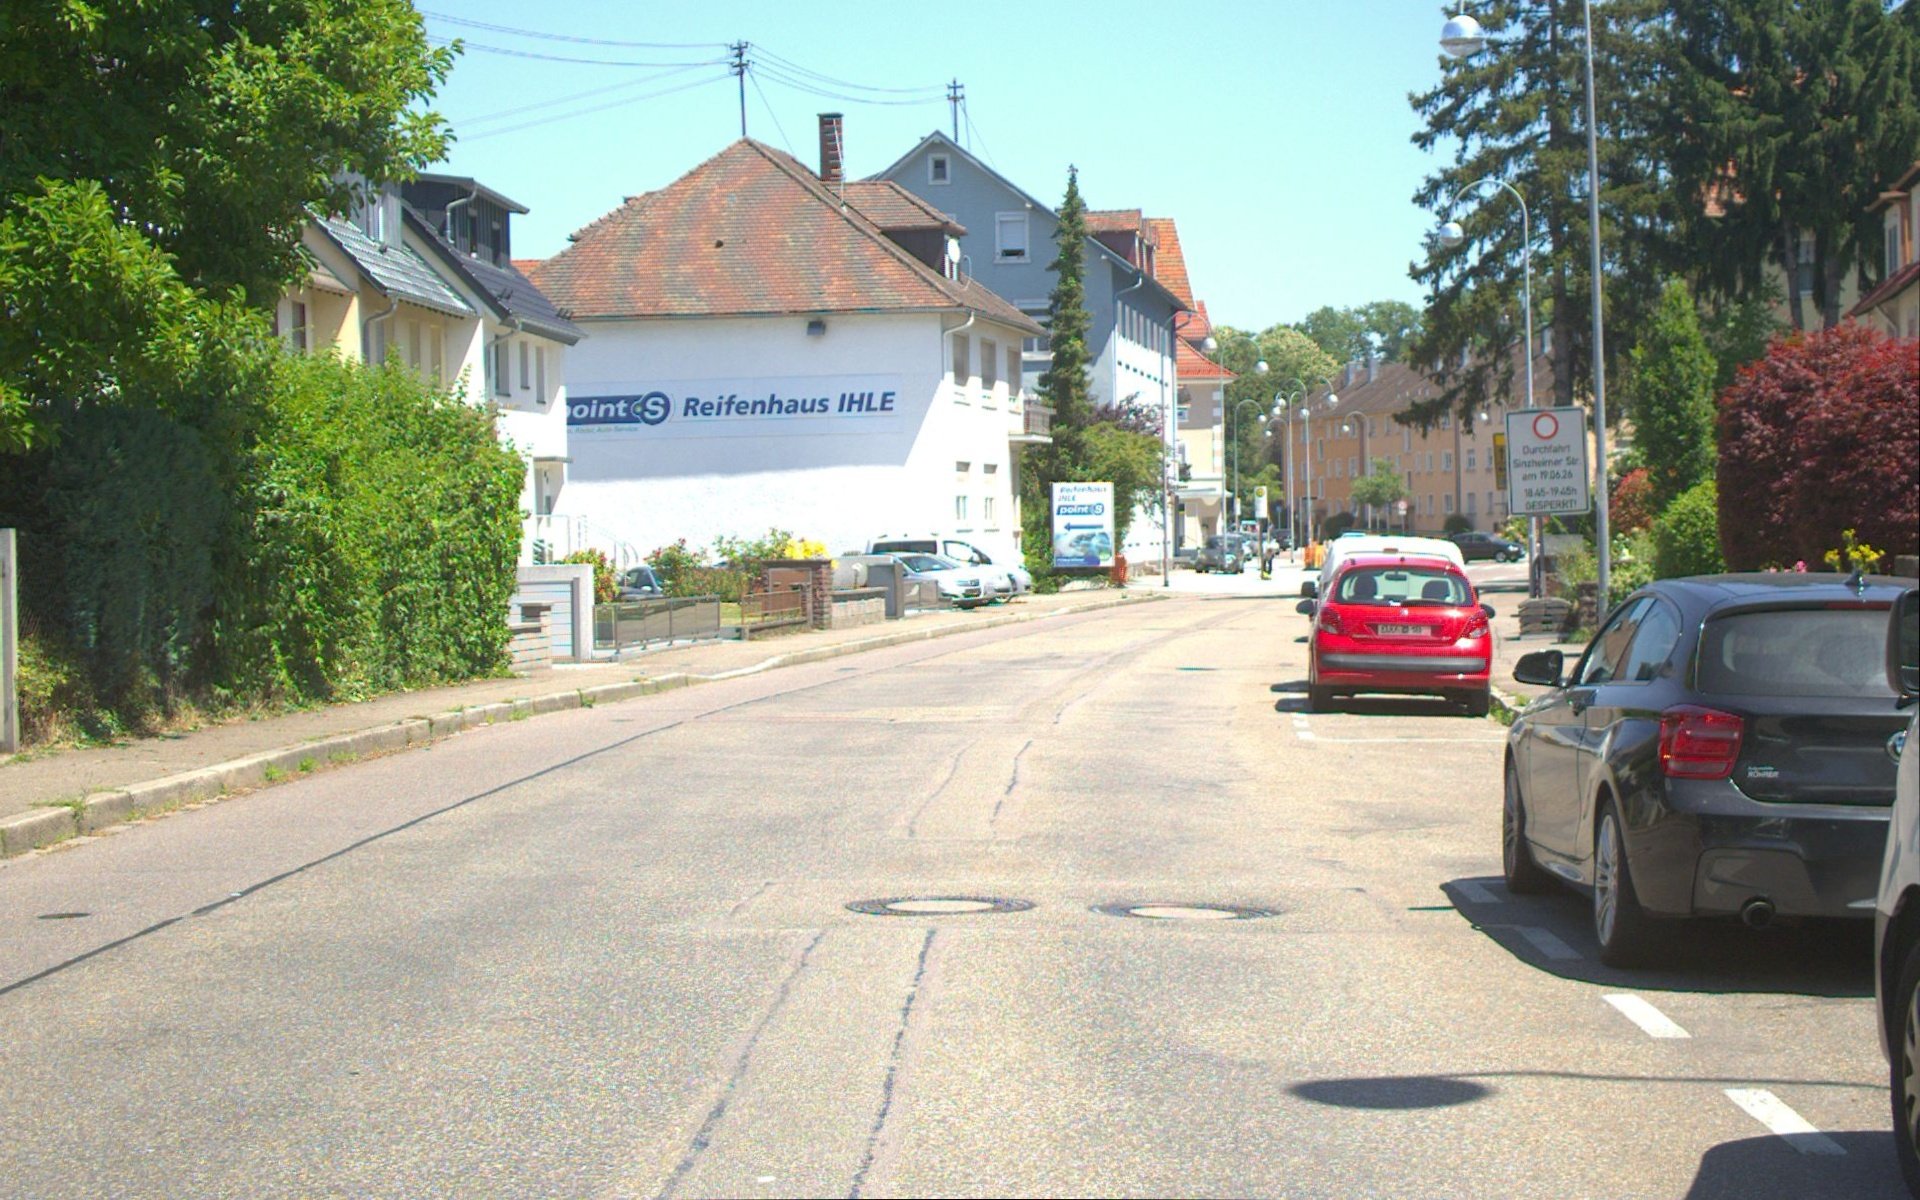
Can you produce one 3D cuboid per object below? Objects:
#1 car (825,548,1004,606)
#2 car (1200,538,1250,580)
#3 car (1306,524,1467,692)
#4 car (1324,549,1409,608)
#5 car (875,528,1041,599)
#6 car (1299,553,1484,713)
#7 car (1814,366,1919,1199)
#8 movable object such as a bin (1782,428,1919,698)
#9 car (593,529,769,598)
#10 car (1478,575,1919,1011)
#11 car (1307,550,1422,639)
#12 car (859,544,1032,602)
[{"bbox_3d":[-1.113,-0.575,83.309,4.139,1.339,1.907,1,2,42],"label":"car"},{"bbox_3d":[10.639,-1.652,137.873,1.758,1.650,3.999,0,1,8],"label":"car"},{"bbox_3d":[4.776,0.075,38.782,1.664,1.749,3.999,2,0,6],"label":"car"},{"bbox_3d":[10.777,-0.588,90.990,1.795,1.505,3.998,1,1,13],"label":"car"},{"bbox_3d":[-0.036,-0.938,88.497,4.129,1.768,1.828,0,1,4],"label":"car"},{"bbox_3d":[4.186,0.277,33.774,1.664,1.450,3.999,0,1,5],"label":"car"},{"bbox_3d":[3.082,0.469,6.161,1.903,1.918,4.719,0,1,0],"label":"car"},{"bbox_3d":[10.292,-0.383,35.691,3.145,2.737,1.707,0,1,3],"label":"movable object such as a bin"},{"bbox_3d":[-6.355,-0.848,78.102,3.997,1.505,1.795,1,2,44],"label":"car"},{"bbox_3d":[3.093,0.623,13.329,1.656,1.393,4.000,0,1,1],"label":"car"},{"bbox_3d":[6.871,-0.123,58.128,1.778,1.401,4.285,1,1,8],"label":"car"},{"bbox_3d":[-0.352,-0.680,86.169,4.130,1.389,1.828,0,1,8],"label":"car"}]
